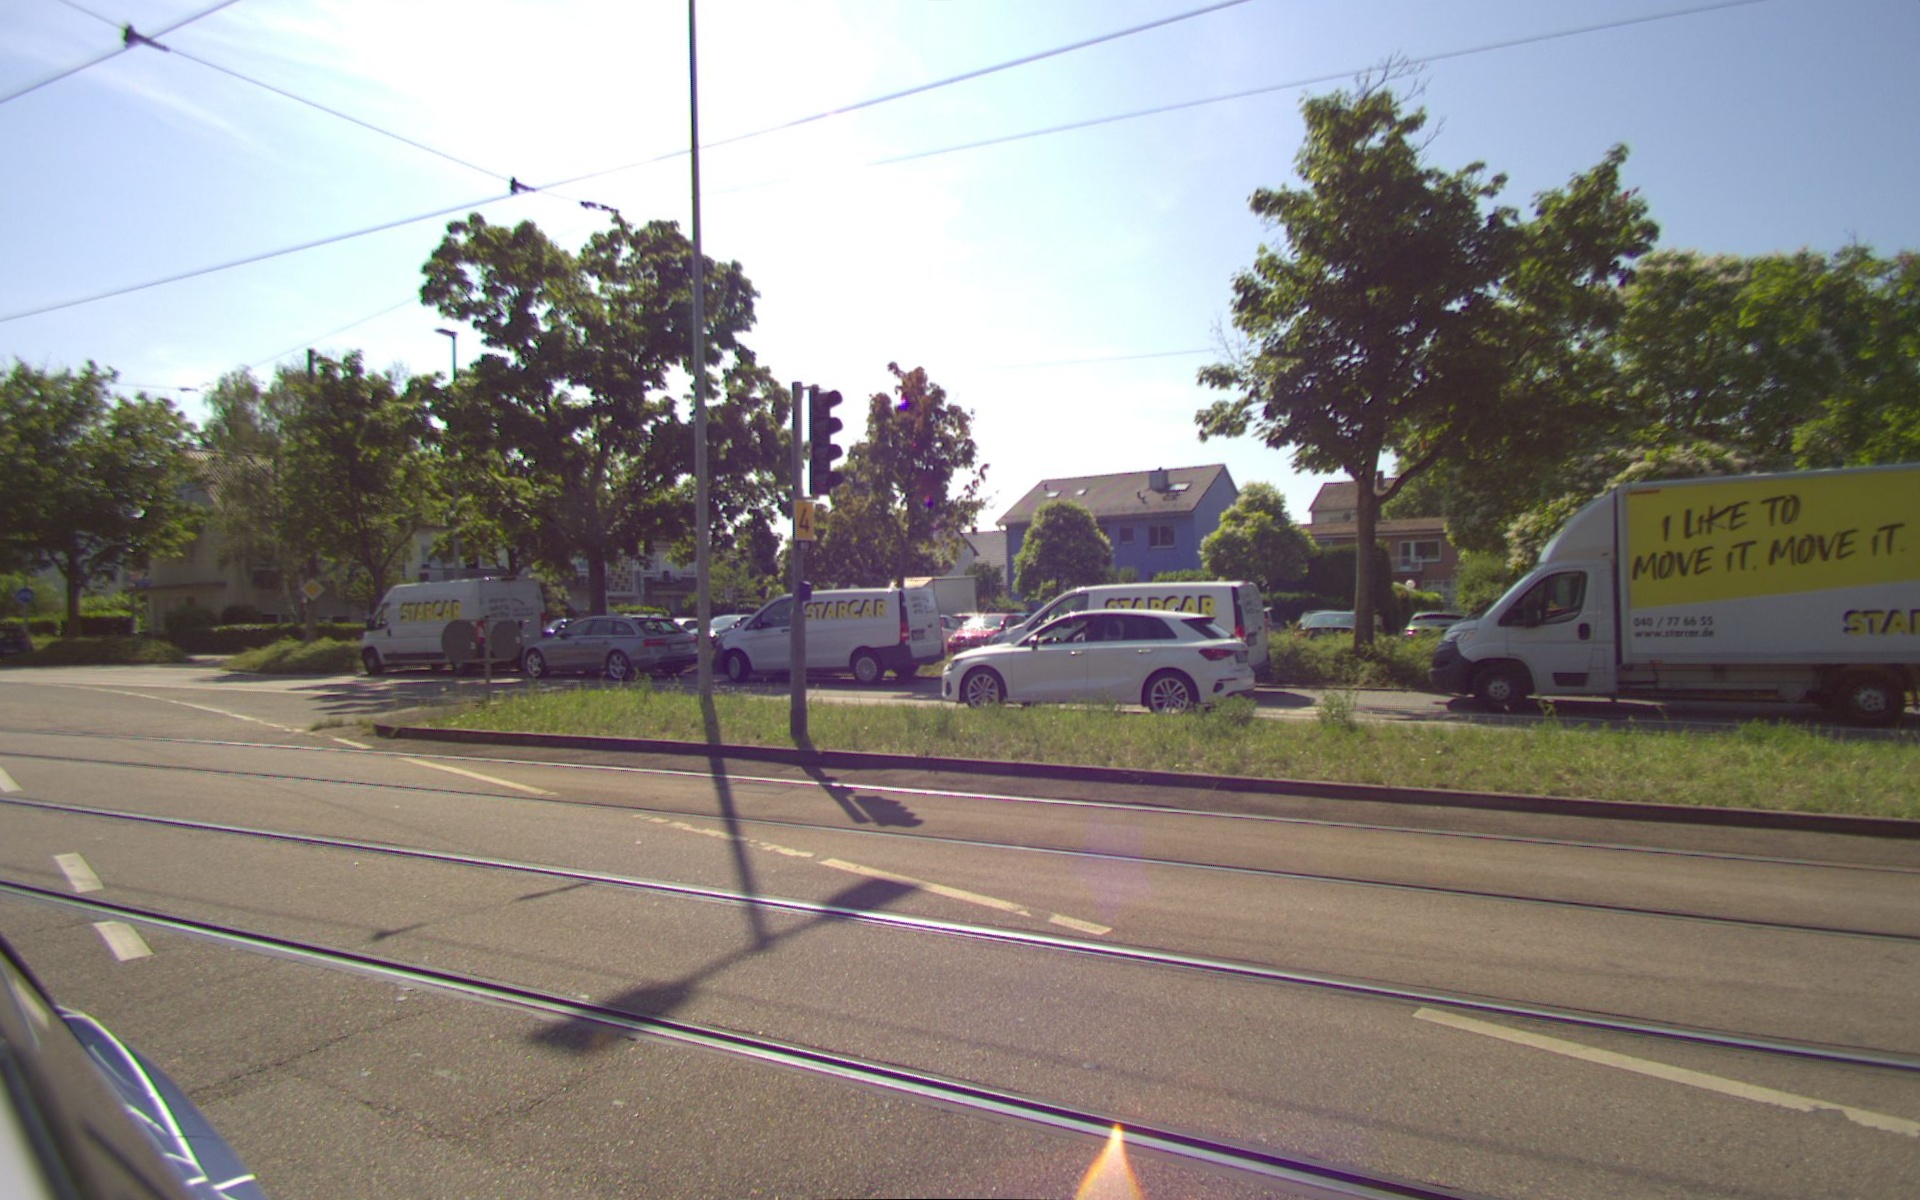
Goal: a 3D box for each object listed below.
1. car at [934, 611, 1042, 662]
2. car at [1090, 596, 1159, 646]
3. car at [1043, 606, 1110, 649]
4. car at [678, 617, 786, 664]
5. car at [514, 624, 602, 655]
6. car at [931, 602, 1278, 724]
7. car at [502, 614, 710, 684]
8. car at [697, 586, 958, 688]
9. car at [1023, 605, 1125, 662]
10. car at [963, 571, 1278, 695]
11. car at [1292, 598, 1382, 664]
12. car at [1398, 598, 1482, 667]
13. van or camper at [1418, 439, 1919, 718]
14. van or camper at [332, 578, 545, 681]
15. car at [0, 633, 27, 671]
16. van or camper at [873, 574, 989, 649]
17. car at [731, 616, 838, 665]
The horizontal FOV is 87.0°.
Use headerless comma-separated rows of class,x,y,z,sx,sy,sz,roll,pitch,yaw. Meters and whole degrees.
car,0.930,1.071,30.811,1.724,1.420,3.962,-1,-1,28
car,6.813,0.855,41.545,1.775,1.905,3.966,-2,-1,25
car,5.111,1.173,43.923,1.726,1.741,3.966,-2,-1,25
car,-8.088,1.397,36.180,1.655,1.556,3.964,-1,-1,27
car,-20.872,2.024,52.631,1.803,1.536,3.953,-2,-1,35
car,1.927,0.794,13.693,4.313,1.433,1.781,-1,-1,27
car,-8.475,1.134,24.159,4.864,1.465,1.920,-1,0,29
car,-2.839,0.763,21.618,5.154,1.955,2.185,-1,1,25
car,3.422,0.957,29.858,1.656,1.556,3.962,-1,-1,28
car,2.840,0.562,18.291,5.164,1.955,2.181,-2,1,30
car,9.741,0.774,25.991,1.656,1.556,3.962,-1,-1,28
car,11.821,0.757,24.817,1.656,1.556,3.962,-1,-1,28
van or camper,10.057,-0.229,13.758,6.745,3.265,2.181,-2,1,30
van or camper,-14.230,0.823,27.481,6.123,2.534,2.241,-2,-1,30
car,-40.004,2.140,41.385,4.066,1.462,1.604,-2,-1,30
van or camper,-1.227,0.549,48.116,2.569,3.269,6.910,-2,-1,26
car,-6.000,1.352,35.014,1.655,1.556,3.964,-1,-1,27
